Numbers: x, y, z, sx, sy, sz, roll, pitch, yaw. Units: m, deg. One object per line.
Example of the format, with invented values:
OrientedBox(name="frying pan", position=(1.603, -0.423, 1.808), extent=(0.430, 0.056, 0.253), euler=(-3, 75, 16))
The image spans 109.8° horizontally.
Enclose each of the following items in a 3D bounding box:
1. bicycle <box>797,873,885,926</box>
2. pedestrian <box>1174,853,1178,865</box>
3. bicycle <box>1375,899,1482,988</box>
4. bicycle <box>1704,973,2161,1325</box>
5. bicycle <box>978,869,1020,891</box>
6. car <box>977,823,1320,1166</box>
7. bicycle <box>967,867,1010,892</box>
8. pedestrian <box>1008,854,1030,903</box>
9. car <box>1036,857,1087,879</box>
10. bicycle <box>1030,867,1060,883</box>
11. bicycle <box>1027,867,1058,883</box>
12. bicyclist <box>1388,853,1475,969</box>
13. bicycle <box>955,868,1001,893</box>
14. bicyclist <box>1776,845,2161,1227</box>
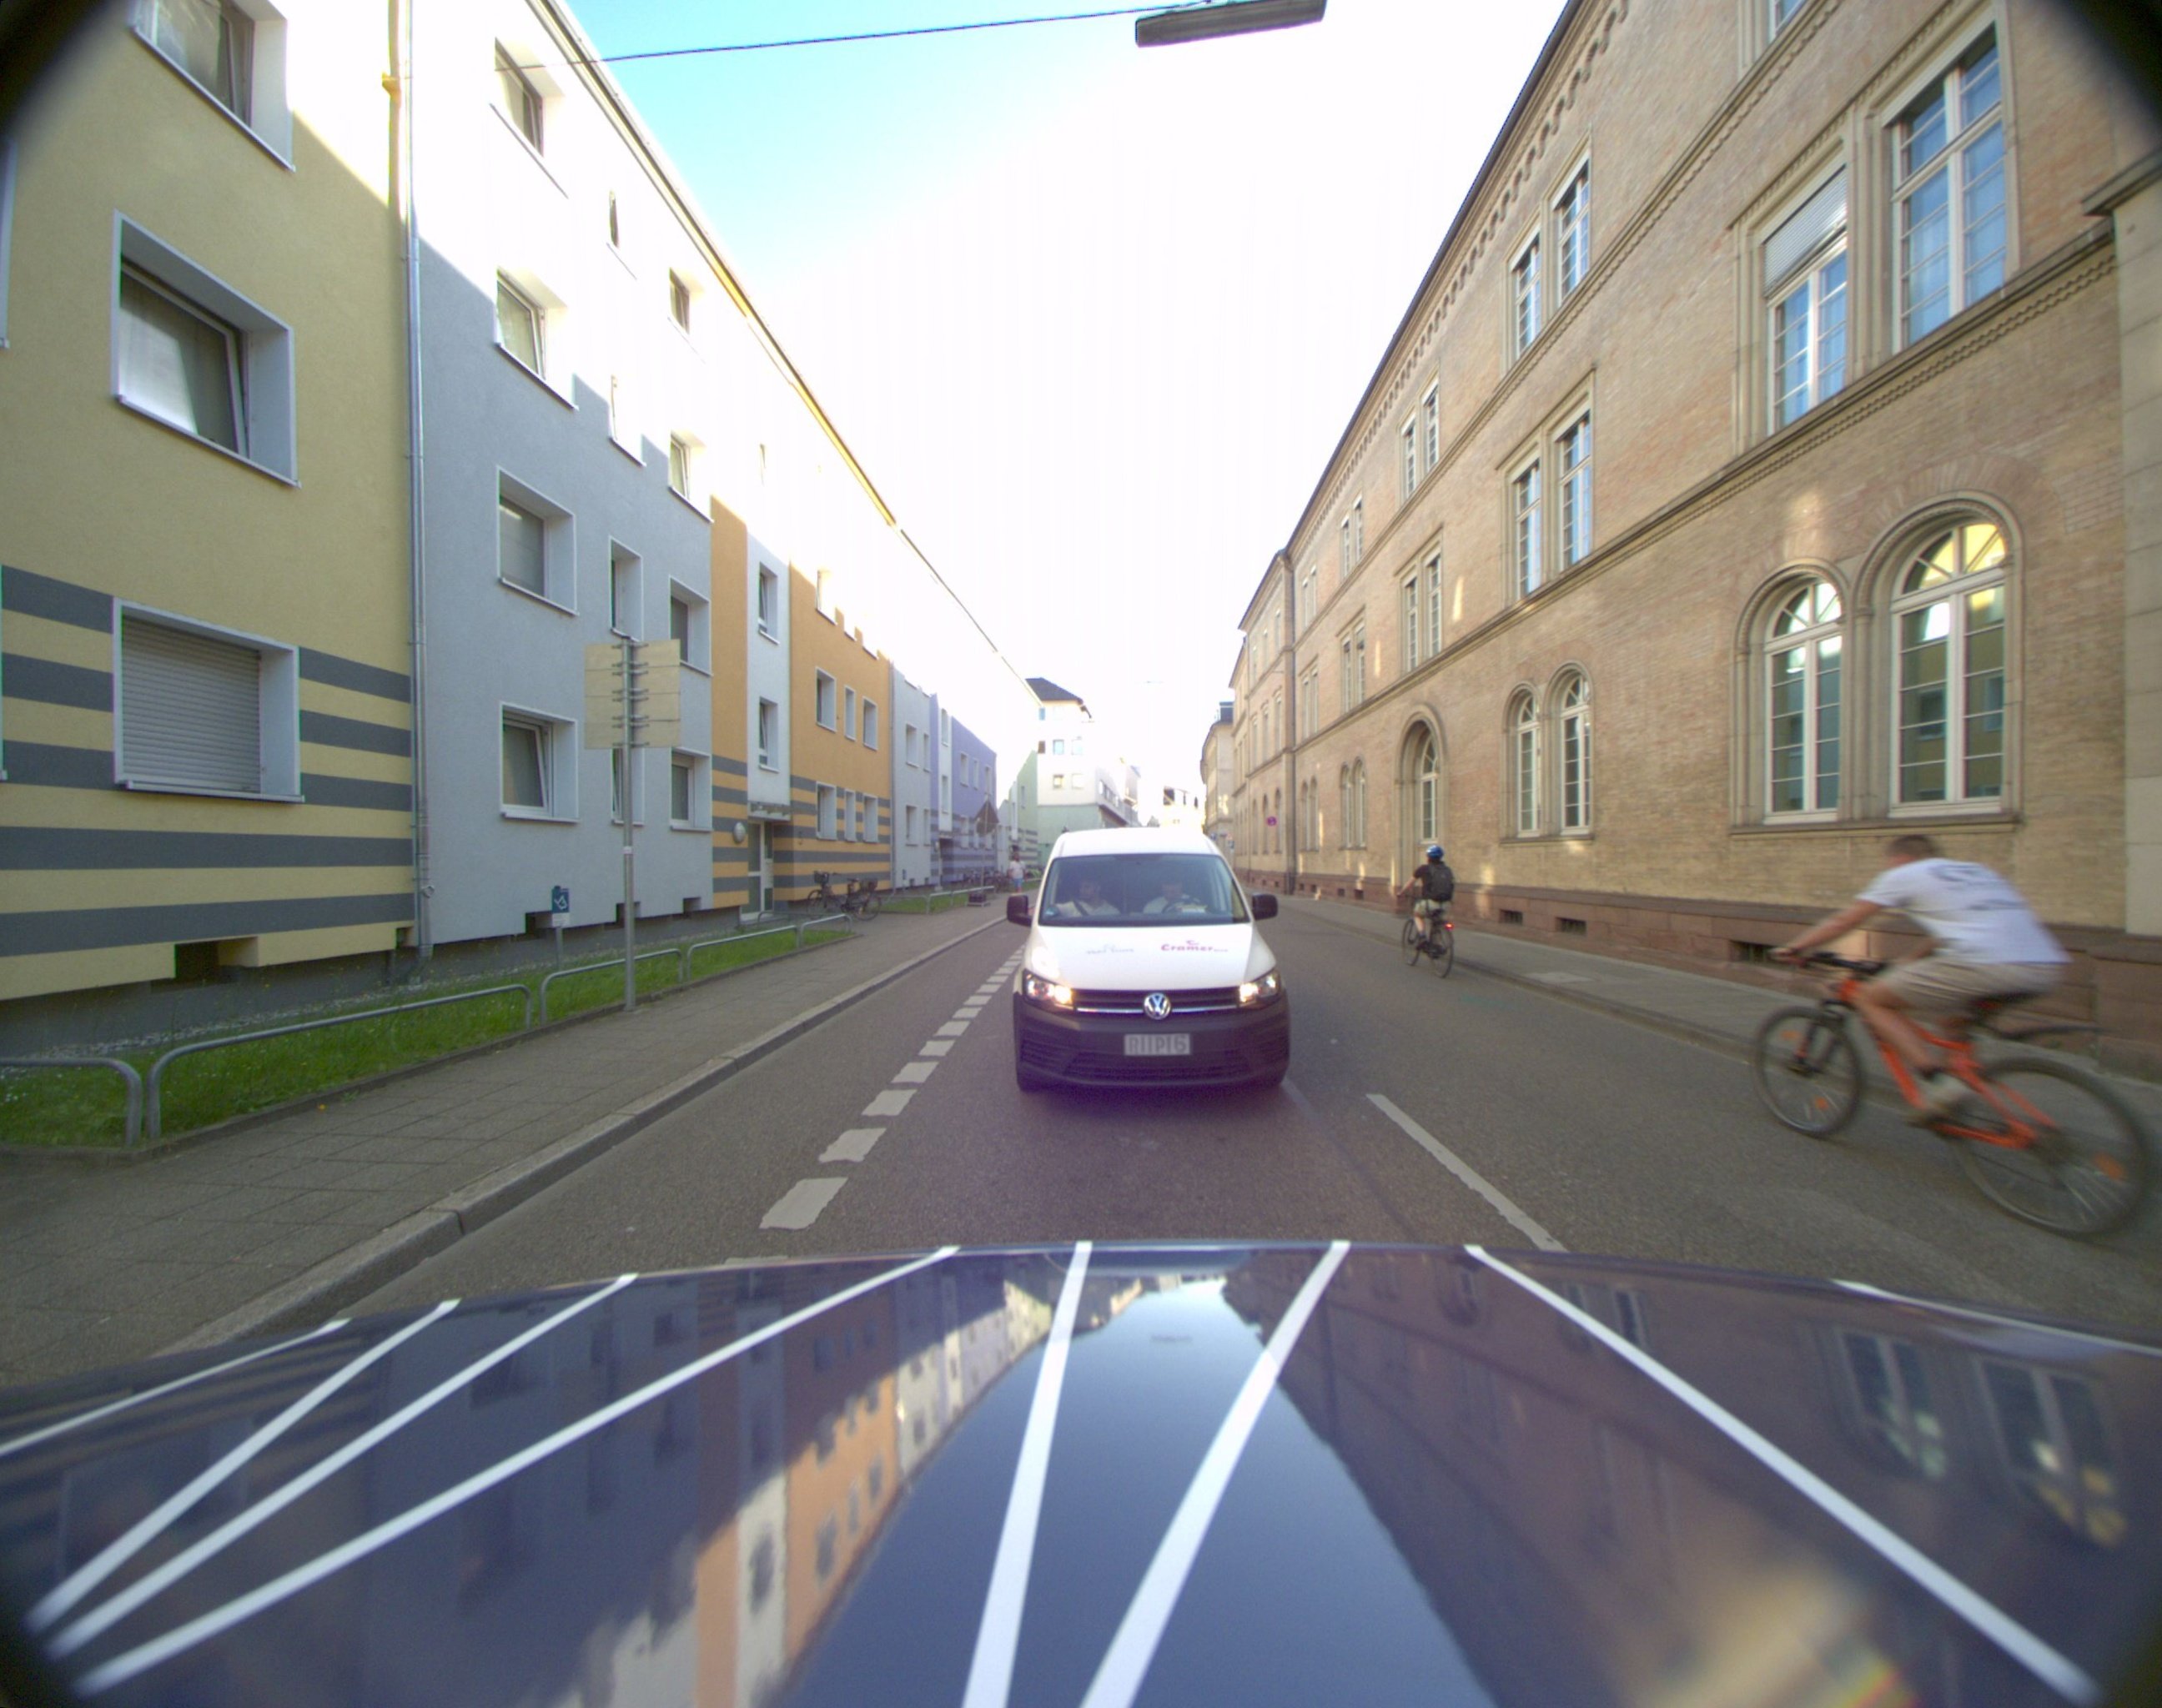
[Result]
OrientedBox(name="bicycle", position=(-5.389, 1.019, 17.111), extent=(1.776, 1.118, 0.583), euler=(1, 1, -1))
OrientedBox(name="pedestrian", position=(15.022, 0.814, 119.969), extent=(0.644, 1.937, 0.779), euler=(0, 0, 10))
OrientedBox(name="bicycle", position=(4.793, 1.198, 10.637), extent=(0.651, 1.001, 1.876), euler=(2, 0, 2))
OrientedBox(name="bicycle", position=(4.095, 1.227, 3.678), extent=(0.651, 1.001, 1.806), euler=(2, 0, 1))
OrientedBox(name="bicycle", position=(-3.652, 1.143, 33.826), extent=(1.775, 0.934, 0.584), euler=(1, 1, 7))
OrientedBox(name="car", position=(0.396, 0.760, 6.733), extent=(1.819, 1.825, 5.341), euler=(0, 0, 1))
OrientedBox(name="bicycle", position=(-4.042, 1.106, 33.210), extent=(1.775, 0.990, 0.584), euler=(1, 1, 7))
OrientedBox(name="pedestrian", position=(-2.127, 0.834, 26.209), extent=(0.644, 1.662, 0.834), euler=(1, 0, 3))
OrientedBox(name="car", position=(-1.585, 1.141, 63.485), extent=(3.995, 1.681, 1.901), euler=(-2, 1, 5))
OrientedBox(name="bicycle", position=(-2.227, 1.314, 47.618), extent=(1.775, 0.934, 0.584), euler=(1, 1, 7))
OrientedBox(name="bicycle", position=(-2.307, 1.283, 46.081), extent=(1.775, 0.934, 0.584), euler=(1, 1, 7))
OrientedBox(name="bicyclist", position=(4.812, 0.750, 10.498), extent=(0.651, 1.500, 1.111), euler=(2, 0, 2))
OrientedBox(name="bicycle", position=(-4.319, 1.116, 31.868), extent=(1.775, 0.990, 0.584), euler=(1, 1, 7))
OrientedBox(name="bicyclist", position=(4.104, 0.752, 3.615), extent=(0.651, 1.558, 0.961), euler=(2, 0, 1))
